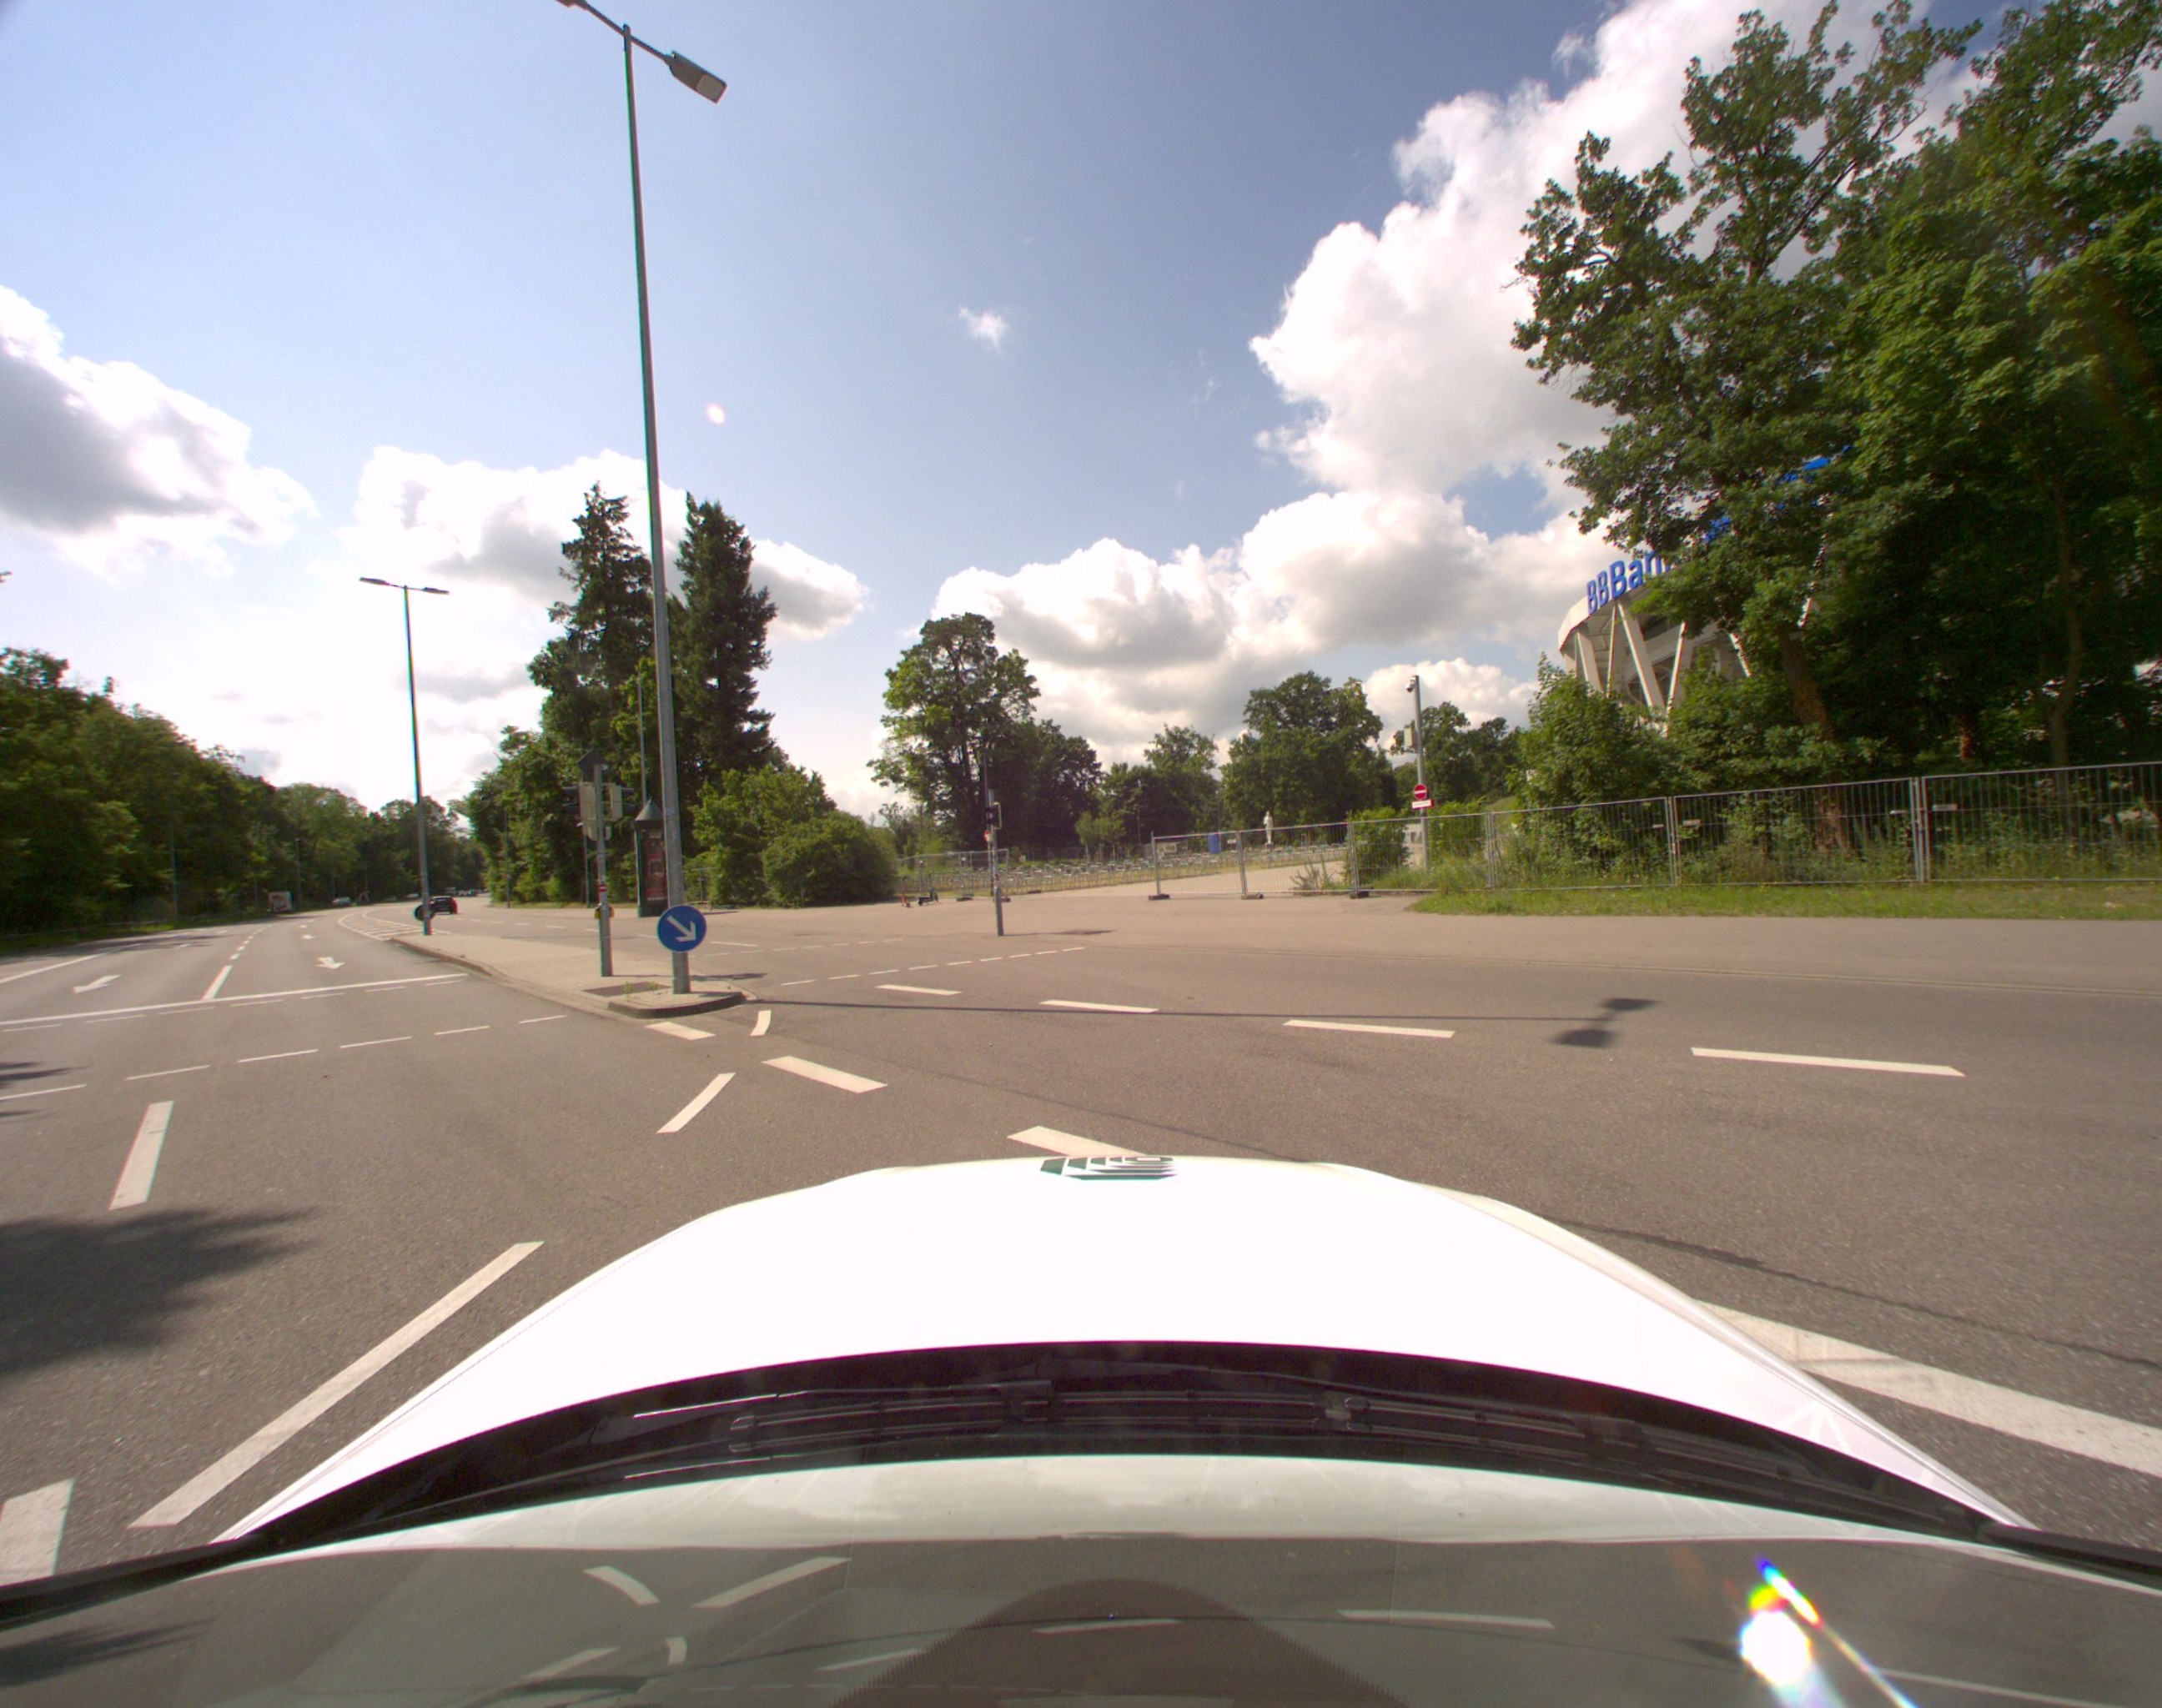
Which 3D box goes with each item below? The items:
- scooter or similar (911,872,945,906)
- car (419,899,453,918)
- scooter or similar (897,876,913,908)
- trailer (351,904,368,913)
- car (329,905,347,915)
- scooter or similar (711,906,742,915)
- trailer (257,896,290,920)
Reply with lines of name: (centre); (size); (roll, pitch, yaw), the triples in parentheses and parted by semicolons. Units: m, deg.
scooter or similar: (-6.147, 1.399, 32.758); (0.402, 1.252, 1.320); (-4, 0, 37)
car: (-50.919, 4.285, 64.285); (3.925, 1.378, 1.612); (-4, -2, 44)
scooter or similar: (-6.948, 1.483, 32.117); (0.407, 1.200, 1.303); (-4, 0, -18)
trailer: (-128.521, 9.674, 145.024); (1.729, 1.355, 3.692); (-2, -2, -34)
car: (-115.619, 8.694, 126.763); (1.514, 1.446, 3.491); (-2, -2, -34)
scooter or similar: (-17.324, 2.773, 39.810); (1.455, 0.389, 0.860); (-8, -9, 42)
trailer: (-86.994, 5.775, 87.768); (2.010, 2.389, 3.954); (-2, -2, -38)
